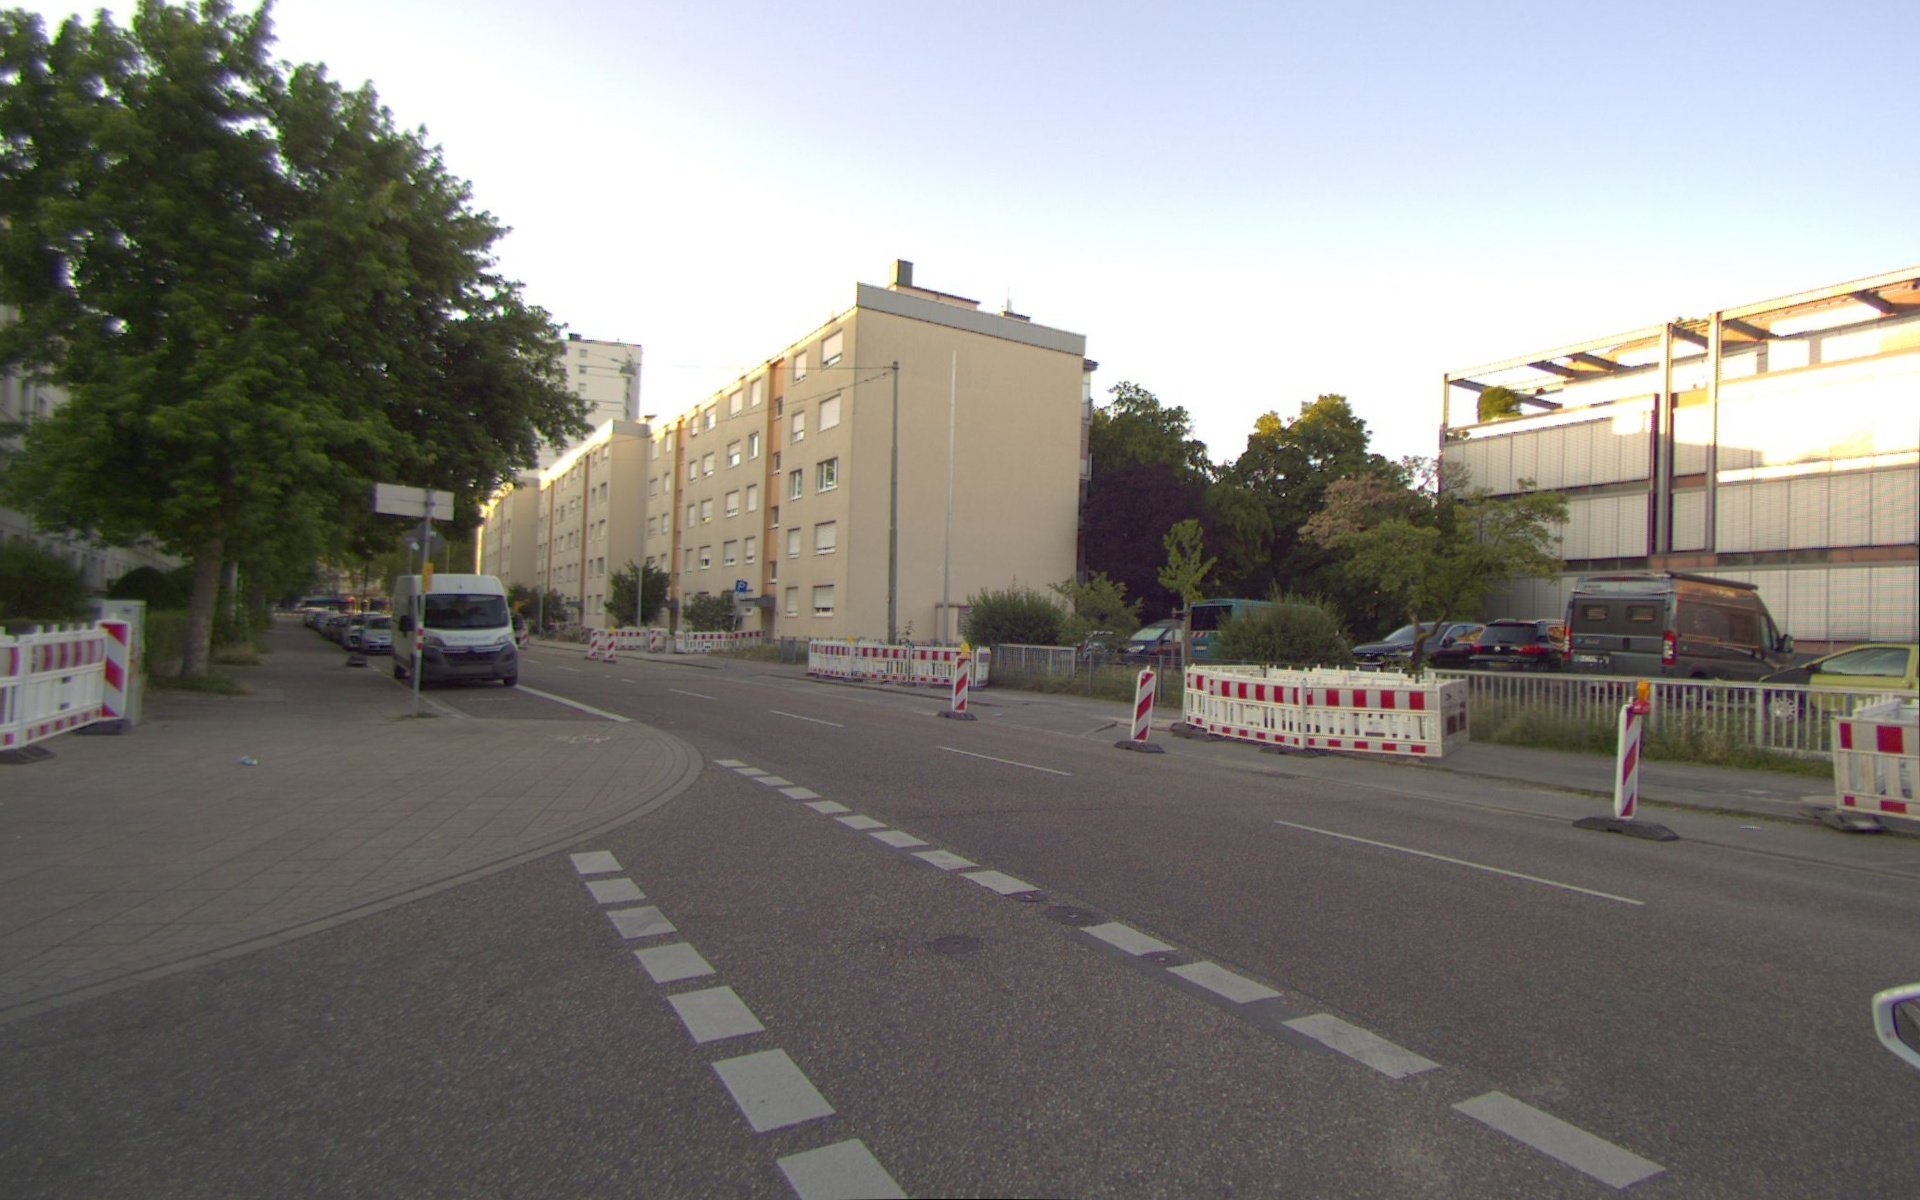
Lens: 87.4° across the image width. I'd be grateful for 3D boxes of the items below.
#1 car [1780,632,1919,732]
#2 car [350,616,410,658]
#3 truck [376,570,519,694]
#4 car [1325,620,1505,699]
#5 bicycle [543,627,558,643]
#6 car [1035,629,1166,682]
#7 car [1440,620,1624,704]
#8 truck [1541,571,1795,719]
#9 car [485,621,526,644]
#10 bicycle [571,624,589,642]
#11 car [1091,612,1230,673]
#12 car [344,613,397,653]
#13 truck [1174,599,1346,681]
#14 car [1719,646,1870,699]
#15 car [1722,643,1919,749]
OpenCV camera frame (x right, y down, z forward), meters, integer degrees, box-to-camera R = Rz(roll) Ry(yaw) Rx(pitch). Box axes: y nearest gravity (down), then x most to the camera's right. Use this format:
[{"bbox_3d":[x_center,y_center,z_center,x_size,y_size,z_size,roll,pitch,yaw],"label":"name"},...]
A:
[{"bbox_3d":[16.960,1.415,16.987,1.556,1.659,4.564,3,-2,-28],"label":"car"},{"bbox_3d":[-22.376,1.398,38.707,1.744,1.503,3.890,0,-1,-34],"label":"car"},{"bbox_3d":[-11.838,0.672,22.947,2.087,2.455,5.987,2,-1,-35],"label":"truck"},{"bbox_3d":[11.086,1.431,24.414,4.255,1.750,1.982,3,-2,-33],"label":"car"},{"bbox_3d":[-29.952,2.568,73.440,0.612,1.121,2.215,3,-2,-32],"label":"bicycle"},{"bbox_3d":[4.911,1.940,35.008,4.179,1.668,1.983,3,-2,-31],"label":"car"},{"bbox_3d":[12.881,1.379,22.574,3.957,1.714,1.982,3,-2,-33],"label":"car"},{"bbox_3d":[14.263,0.918,20.196,4.914,2.651,2.323,3,-2,-30],"label":"truck"},{"bbox_3d":[-30.081,2.155,66.380,1.767,1.408,3.962,3,-2,-34],"label":"car"},{"bbox_3d":[-25.627,2.233,67.731,0.612,1.121,2.215,3,-2,-32],"label":"bicycle"},{"bbox_3d":[6.555,1.393,32.733,4.179,1.850,1.983,3,-2,-31],"label":"car"},{"bbox_3d":[-25.556,1.376,43.499,1.744,1.625,3.890,0,-1,-34],"label":"car"},{"bbox_3d":[8.503,1.150,28.417,4.456,2.118,2.098,3,-2,-27],"label":"truck"},{"bbox_3d":[23.550,2.033,28.314,4.314,1.323,1.930,3,-2,-30],"label":"car"},{"bbox_3d":[14.664,1.505,16.057,1.617,1.523,3.616,3,-2,-28],"label":"car"}]
